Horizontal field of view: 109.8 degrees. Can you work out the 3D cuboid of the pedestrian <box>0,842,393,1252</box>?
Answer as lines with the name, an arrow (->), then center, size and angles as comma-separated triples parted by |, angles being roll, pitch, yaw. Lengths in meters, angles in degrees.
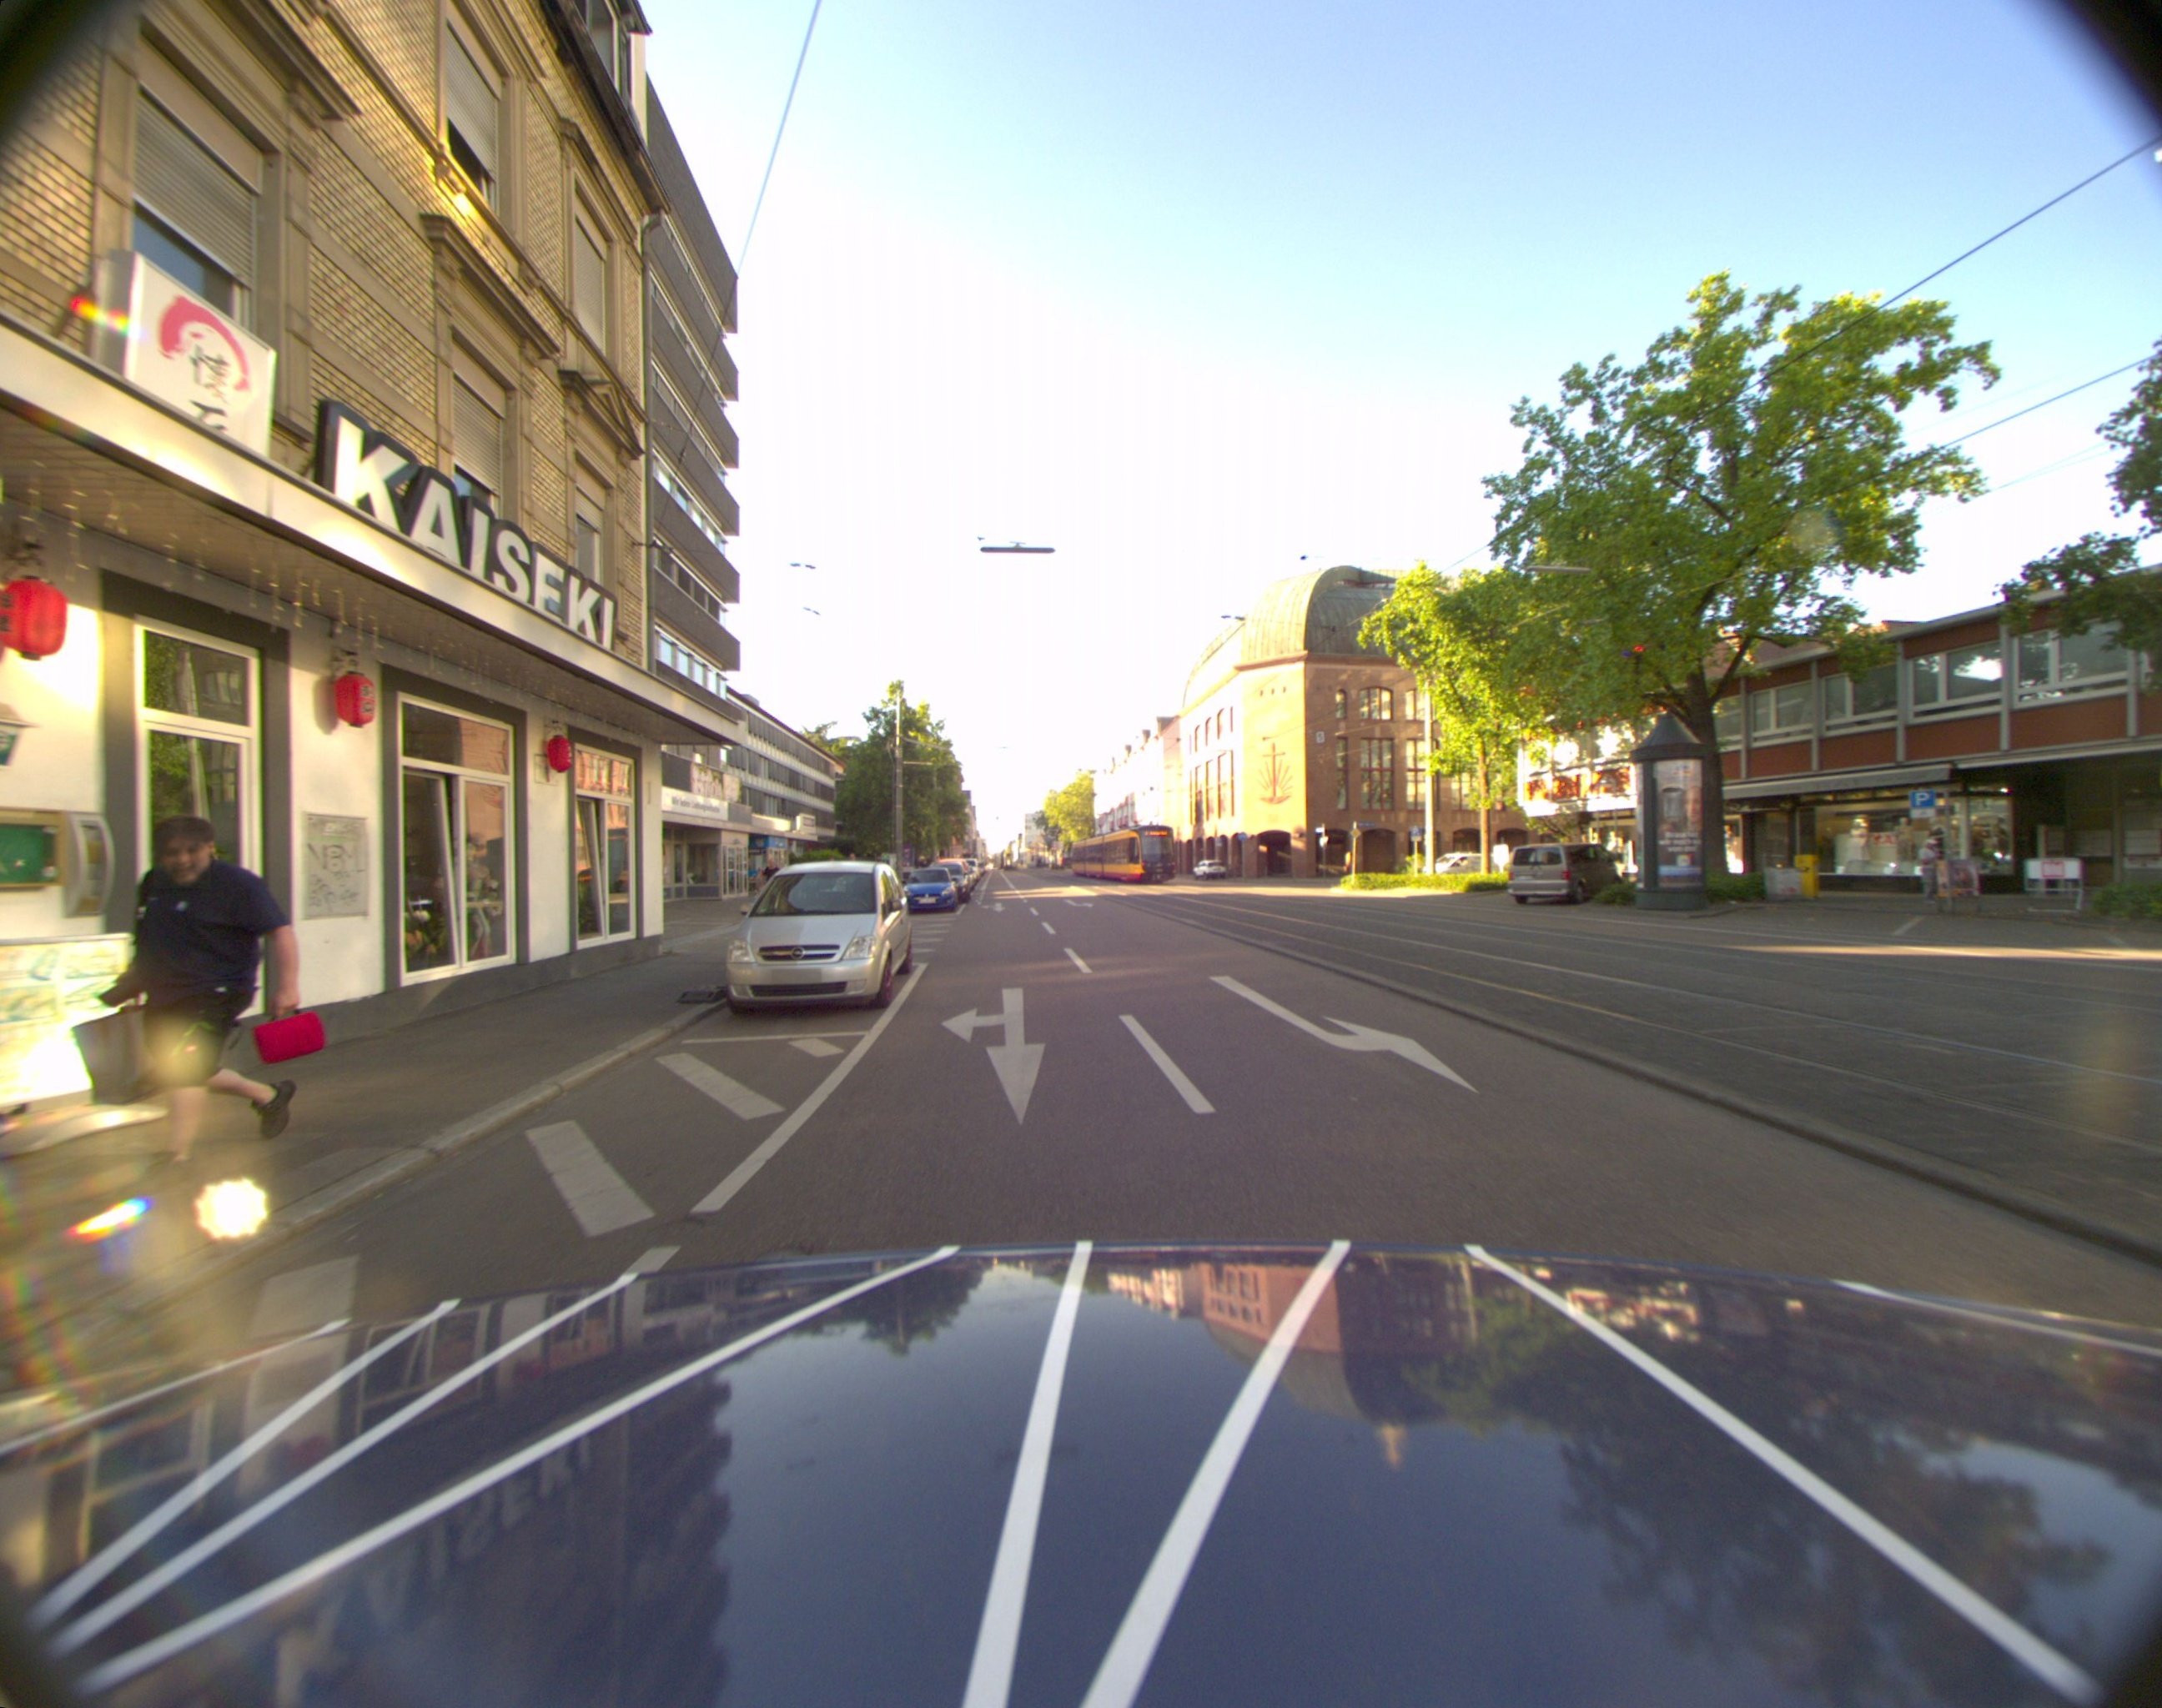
pedestrian -> -4.441, 0.846, 3.865 | 0.949, 1.782, 1.054 | 0, 0, -7

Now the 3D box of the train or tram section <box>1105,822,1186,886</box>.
train or tram section -> 3.780, -0.022, 48.479 | 2.684, 3.530, 12.833 | 0, 0, -7

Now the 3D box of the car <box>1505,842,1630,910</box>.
car -> 16.233, 0.637, 25.242 | 5.130, 1.918, 1.849 | -3, 1, -38

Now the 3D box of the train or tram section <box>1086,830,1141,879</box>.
train or tram section -> 2.396, 0.062, 60.414 | 2.684, 3.530, 11.119 | 0, 0, -7

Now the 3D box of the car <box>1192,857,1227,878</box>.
car -> 10.590, 1.090, 62.817 | 1.600, 1.581, 4.274 | -3, 0, -8

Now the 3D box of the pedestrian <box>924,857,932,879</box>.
pedestrian -> -11.756, 1.071, 58.280 | 0.494, 1.703, 0.437 | 2, 0, -7

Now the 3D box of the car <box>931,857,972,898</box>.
car -> -6.074, 1.064, 36.086 | 1.680, 1.797, 4.246 | -2, 0, -7

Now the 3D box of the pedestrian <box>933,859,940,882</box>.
pedestrian -> -11.087, 1.248, 58.243 | 0.494, 1.703, 0.437 | 2, 0, -7

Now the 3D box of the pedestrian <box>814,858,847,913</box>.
pedestrian -> -8.074, 0.993, 24.526 | 0.813, 1.746, 1.032 | 0, 0, -7

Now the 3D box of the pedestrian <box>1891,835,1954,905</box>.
pedestrian -> 22.981, 0.425, 20.758 | 0.920, 1.867, 0.898 | -1, 0, -24

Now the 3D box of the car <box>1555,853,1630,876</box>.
car -> 36.590, 0.731, 54.501 | 1.856, 1.564, 4.527 | -1, 0, -11

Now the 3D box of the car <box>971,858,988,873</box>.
car -> -12.024, 1.372, 90.143 | 1.785, 1.735, 4.472 | -2, 0, -7

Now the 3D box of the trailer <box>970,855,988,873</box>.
trailer -> -12.733, 1.192, 94.985 | 1.784, 2.136, 5.313 | -2, 0, -4

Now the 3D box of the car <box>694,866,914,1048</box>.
car -> -3.027, 0.991, 9.135 | 1.643, 1.605, 3.942 | -1, 0, -8

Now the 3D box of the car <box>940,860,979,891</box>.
car -> -6.702, 1.157, 42.184 | 1.792, 1.586, 4.324 | -2, 0, -5

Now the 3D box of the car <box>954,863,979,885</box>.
car -> -8.198, 1.424, 54.567 | 1.679, 1.396, 4.164 | -2, 1, -8

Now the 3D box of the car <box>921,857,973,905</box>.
car -> -5.433, 1.047, 31.267 | 1.826, 1.747, 4.472 | -2, 1, -7

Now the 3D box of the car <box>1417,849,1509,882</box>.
car -> 24.600, 0.738, 49.028 | 4.995, 1.957, 2.130 | -1, 3, -8

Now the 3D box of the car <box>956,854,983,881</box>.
car -> -8.882, 1.060, 60.607 | 1.883, 2.009, 4.902 | -2, 0, -6

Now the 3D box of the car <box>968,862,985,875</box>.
car -> -11.489, 1.573, 83.903 | 1.785, 1.420, 4.210 | -2, 0, -7

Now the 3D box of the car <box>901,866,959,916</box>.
car -> -5.079, 1.199, 25.998 | 1.643, 1.484, 3.792 | -3, 0, -8

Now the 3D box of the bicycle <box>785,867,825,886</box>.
bicycle -> -15.557, 1.272, 42.887 | 2.021, 1.089, 0.637 | 1, 0, -13

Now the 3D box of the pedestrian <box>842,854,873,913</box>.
pedestrian -> -7.249, 0.944, 24.634 | 0.796, 1.888, 1.032 | 0, 0, -7

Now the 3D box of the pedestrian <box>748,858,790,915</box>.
pedestrian -> -9.651, 0.997, 23.529 | 0.903, 1.703, 1.032 | 2, 0, -7

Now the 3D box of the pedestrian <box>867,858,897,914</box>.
pedestrian -> -6.361, 1.000, 24.314 | 0.790, 1.727, 0.945 | -1, 0, -7

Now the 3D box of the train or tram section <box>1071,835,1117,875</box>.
train or tram section -> 1.026, 0.076, 72.156 | 2.767, 3.530, 12.459 | 0, 0, -7
